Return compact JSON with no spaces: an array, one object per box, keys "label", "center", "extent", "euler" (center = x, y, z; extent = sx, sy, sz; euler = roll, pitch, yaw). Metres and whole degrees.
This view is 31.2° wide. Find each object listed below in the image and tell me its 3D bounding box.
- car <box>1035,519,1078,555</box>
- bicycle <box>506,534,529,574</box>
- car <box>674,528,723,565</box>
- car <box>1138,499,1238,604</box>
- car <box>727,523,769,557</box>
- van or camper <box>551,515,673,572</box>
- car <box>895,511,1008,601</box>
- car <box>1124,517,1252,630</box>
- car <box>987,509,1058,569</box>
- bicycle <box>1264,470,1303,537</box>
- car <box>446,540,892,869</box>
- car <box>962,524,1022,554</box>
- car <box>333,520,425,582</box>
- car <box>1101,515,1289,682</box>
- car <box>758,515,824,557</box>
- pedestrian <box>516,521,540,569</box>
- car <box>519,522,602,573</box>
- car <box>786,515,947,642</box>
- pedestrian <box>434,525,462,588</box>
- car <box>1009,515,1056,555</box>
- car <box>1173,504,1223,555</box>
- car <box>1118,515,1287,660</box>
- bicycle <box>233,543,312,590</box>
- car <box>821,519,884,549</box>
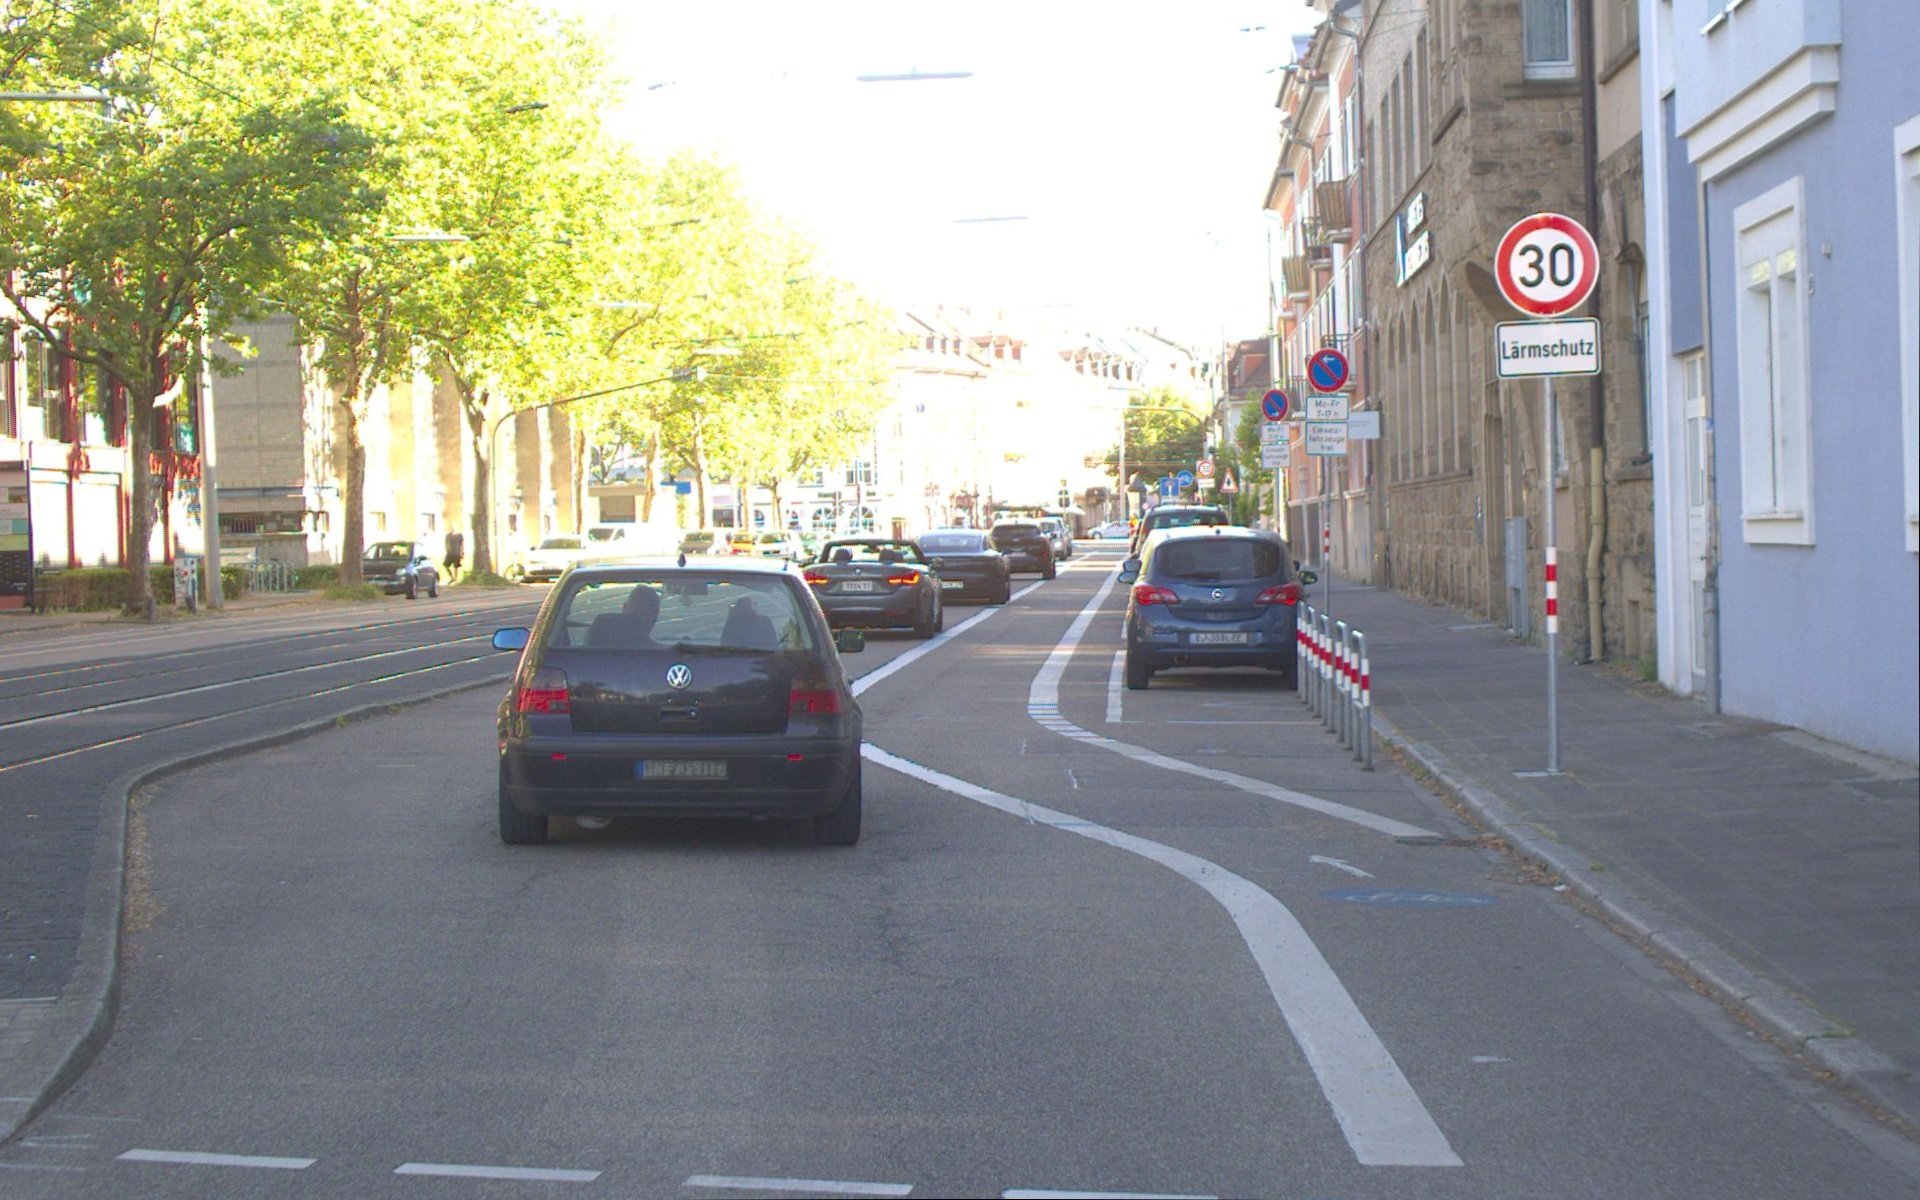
[{"label":"car","center":[4.071,-2.659,144.676],"extent":[1.636,1.467,3.729],"euler":[-1,1,3]},{"label":"bicycle","center":[-13.686,-1.415,106.268],"extent":[0.581,1.204,1.654],"euler":[0,2,-3]},{"label":"car","center":[-11.109,-2.267,146.254],"extent":[1.570,1.528,3.572],"euler":[-1,1,3]},{"label":"car","center":[4.193,-0.931,63.453],"extent":[1.753,1.849,4.815],"euler":[-1,1,3]},{"label":"car","center":[-10.037,-2.837,162.866],"extent":[1.570,1.528,3.572],"euler":[-1,1,3]},{"label":"van or camper","center":[-12.321,-2.035,122.087],"extent":[2.063,1.943,5.183],"euler":[1,2,23]},{"label":"car","center":[-0.123,-0.828,62.731],"extent":[1.749,1.532,3.891],"euler":[-2,2,4]},{"label":"car","center":[3.185,-0.404,48.291],"extent":[1.714,1.495,4.226],"euler":[0,2,3]},{"label":"car","center":[1.621,-1.581,87.886],"extent":[1.636,1.467,3.729],"euler":[-1,1,3]},{"label":"bicycle","center":[5.728,-1.722,60.973],"extent":[0.515,1.136,2.259],"euler":[-3,2,3]},{"label":"car","center":[-1.340,0.435,17.344],"extent":[1.748,1.370,4.000],"euler":[-2,2,2]},{"label":"car","center":[2.204,-4.155,235.509],"extent":[3.986,2.006,2.000],"euler":[0,2,-3]},{"label":"car","center":[-14.719,-1.225,87.281],"extent":[1.507,1.449,3.462],"euler":[-2,-1,4]},{"label":"car","center":[2.187,-0.062,32.594],"extent":[1.655,1.477,4.000],"euler":[-1,1,3]},{"label":"car","center":[-6.551,-2.514,133.694],"extent":[1.753,1.513,4.070],"euler":[-3,1,8]},{"label":"pedestrian","center":[-16.641,-2.122,132.359],"extent":[0.797,1.814,0.670],"euler":[0,2,3]},{"label":"car","center":[-12.955,-1.721,111.809],"extent":[2.012,1.567,4.693],"euler":[0,2,2]},{"label":"car","center":[-1.201,-0.319,45.716],"extent":[1.749,1.532,3.891],"euler":[-2,2,4]},{"label":"pedestrian","center":[-15.396,-1.316,103.411],"extent":[0.784,1.863,0.671],"euler":[0,2,-11]},{"label":"car","center":[2.759,-2.468,130.043],"extent":[1.636,1.467,3.729],"euler":[-1,1,3]},{"label":"car","center":[8.770,-2.630,126.830],"extent":[1.759,1.831,3.547],"euler":[0,2,3]},{"label":"car","center":[2.708,-0.185,38.112],"extent":[1.753,1.495,4.196],"euler":[0,2,5]},{"label":"bicycle","center":[-18.851,-0.917,94.326],"extent":[2.008,1.274,0.664],"euler":[0,2,4]},{"label":"car","center":[-7.263,-4.457,231.979],"extent":[3.986,2.006,2.001],"euler":[0,2,-9]}]
